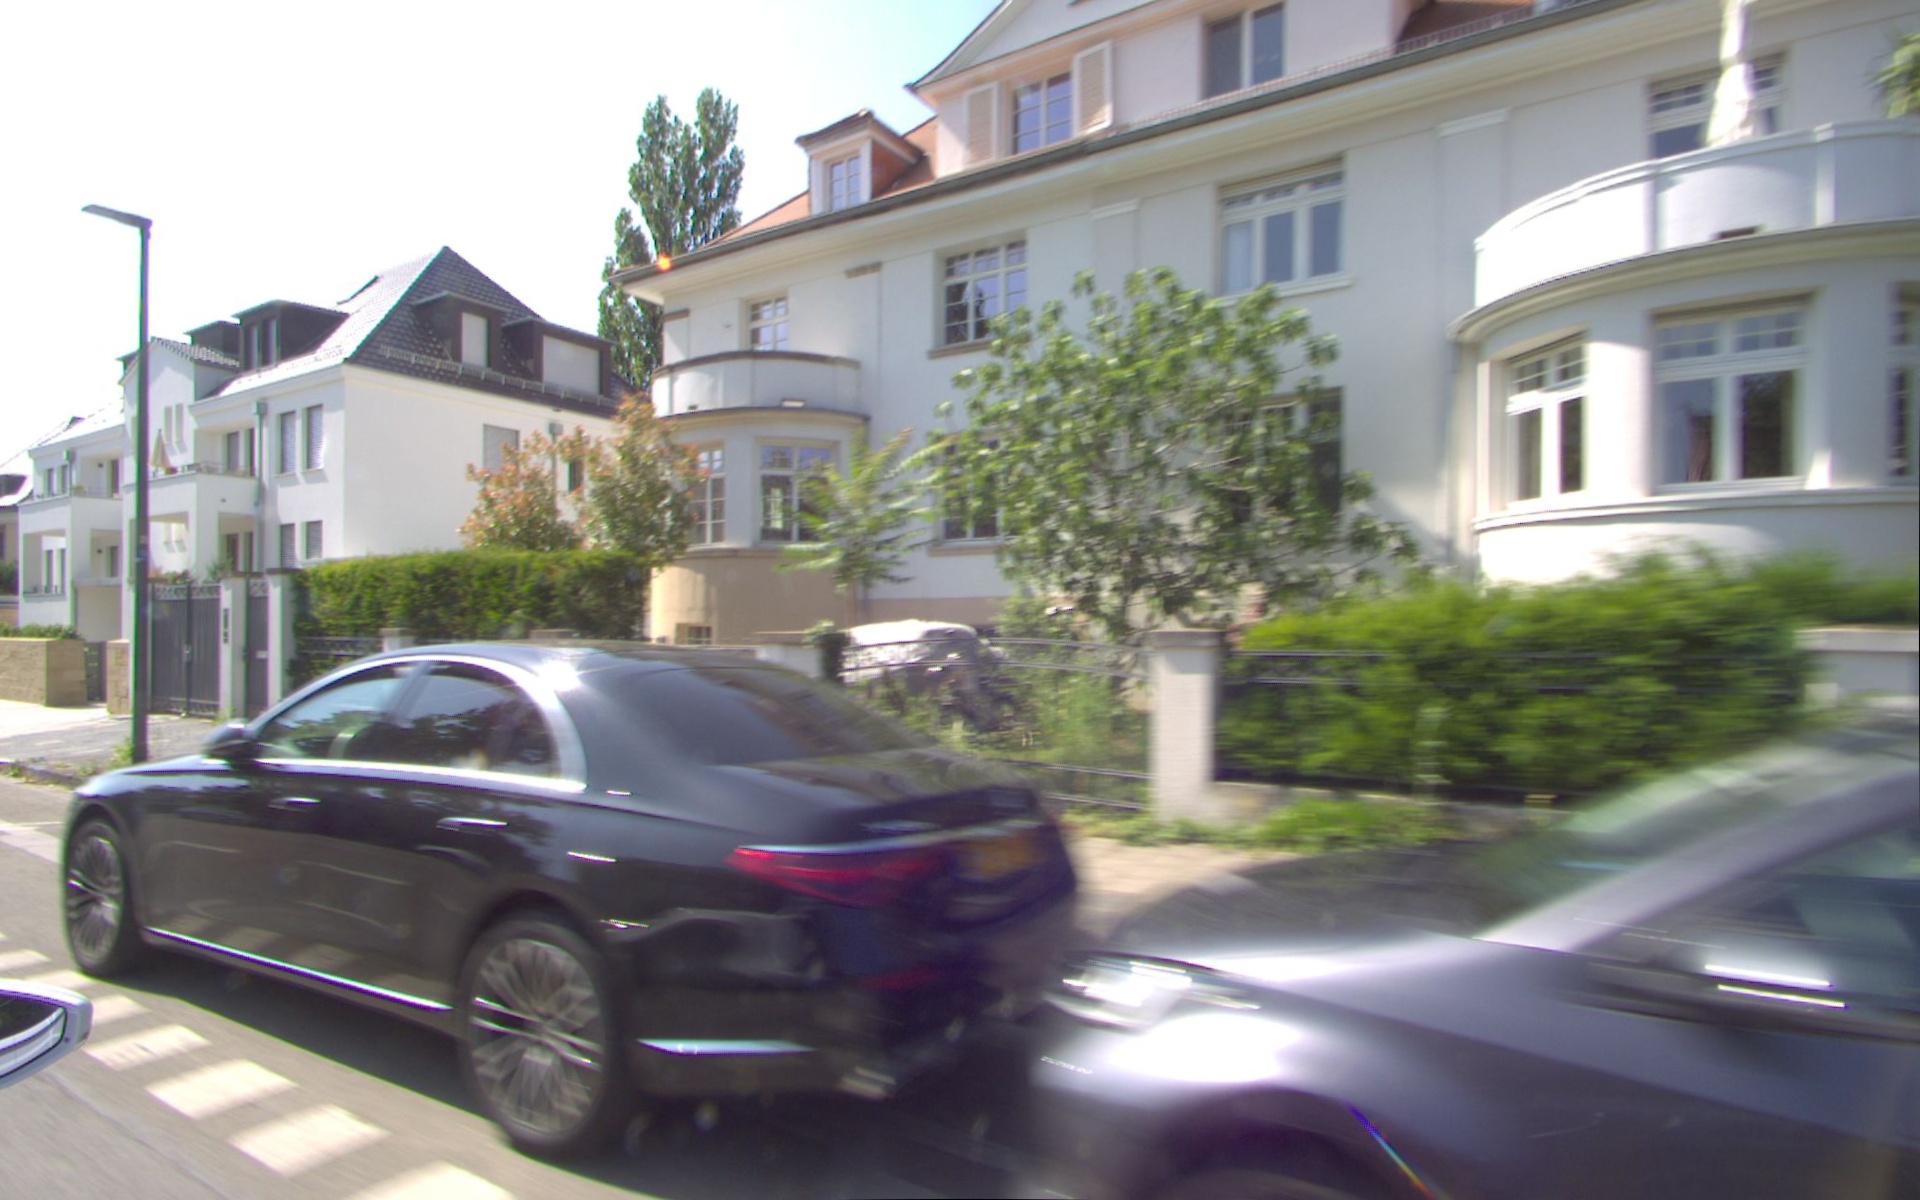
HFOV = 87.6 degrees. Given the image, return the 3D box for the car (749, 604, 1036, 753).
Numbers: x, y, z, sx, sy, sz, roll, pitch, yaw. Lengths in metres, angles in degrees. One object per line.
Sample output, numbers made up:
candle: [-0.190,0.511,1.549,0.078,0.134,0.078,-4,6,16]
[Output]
car: [-0.675,1.010,13.048,1.676,1.602,4.161,0,-4,30]

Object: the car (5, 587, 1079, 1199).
car: [-2.054,0.857,4.354,4.828,1.602,1.696,-1,-4,30]

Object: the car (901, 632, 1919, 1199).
car: [1.894,0.853,1.793,3.733,1.493,1.656,-1,-4,32]
